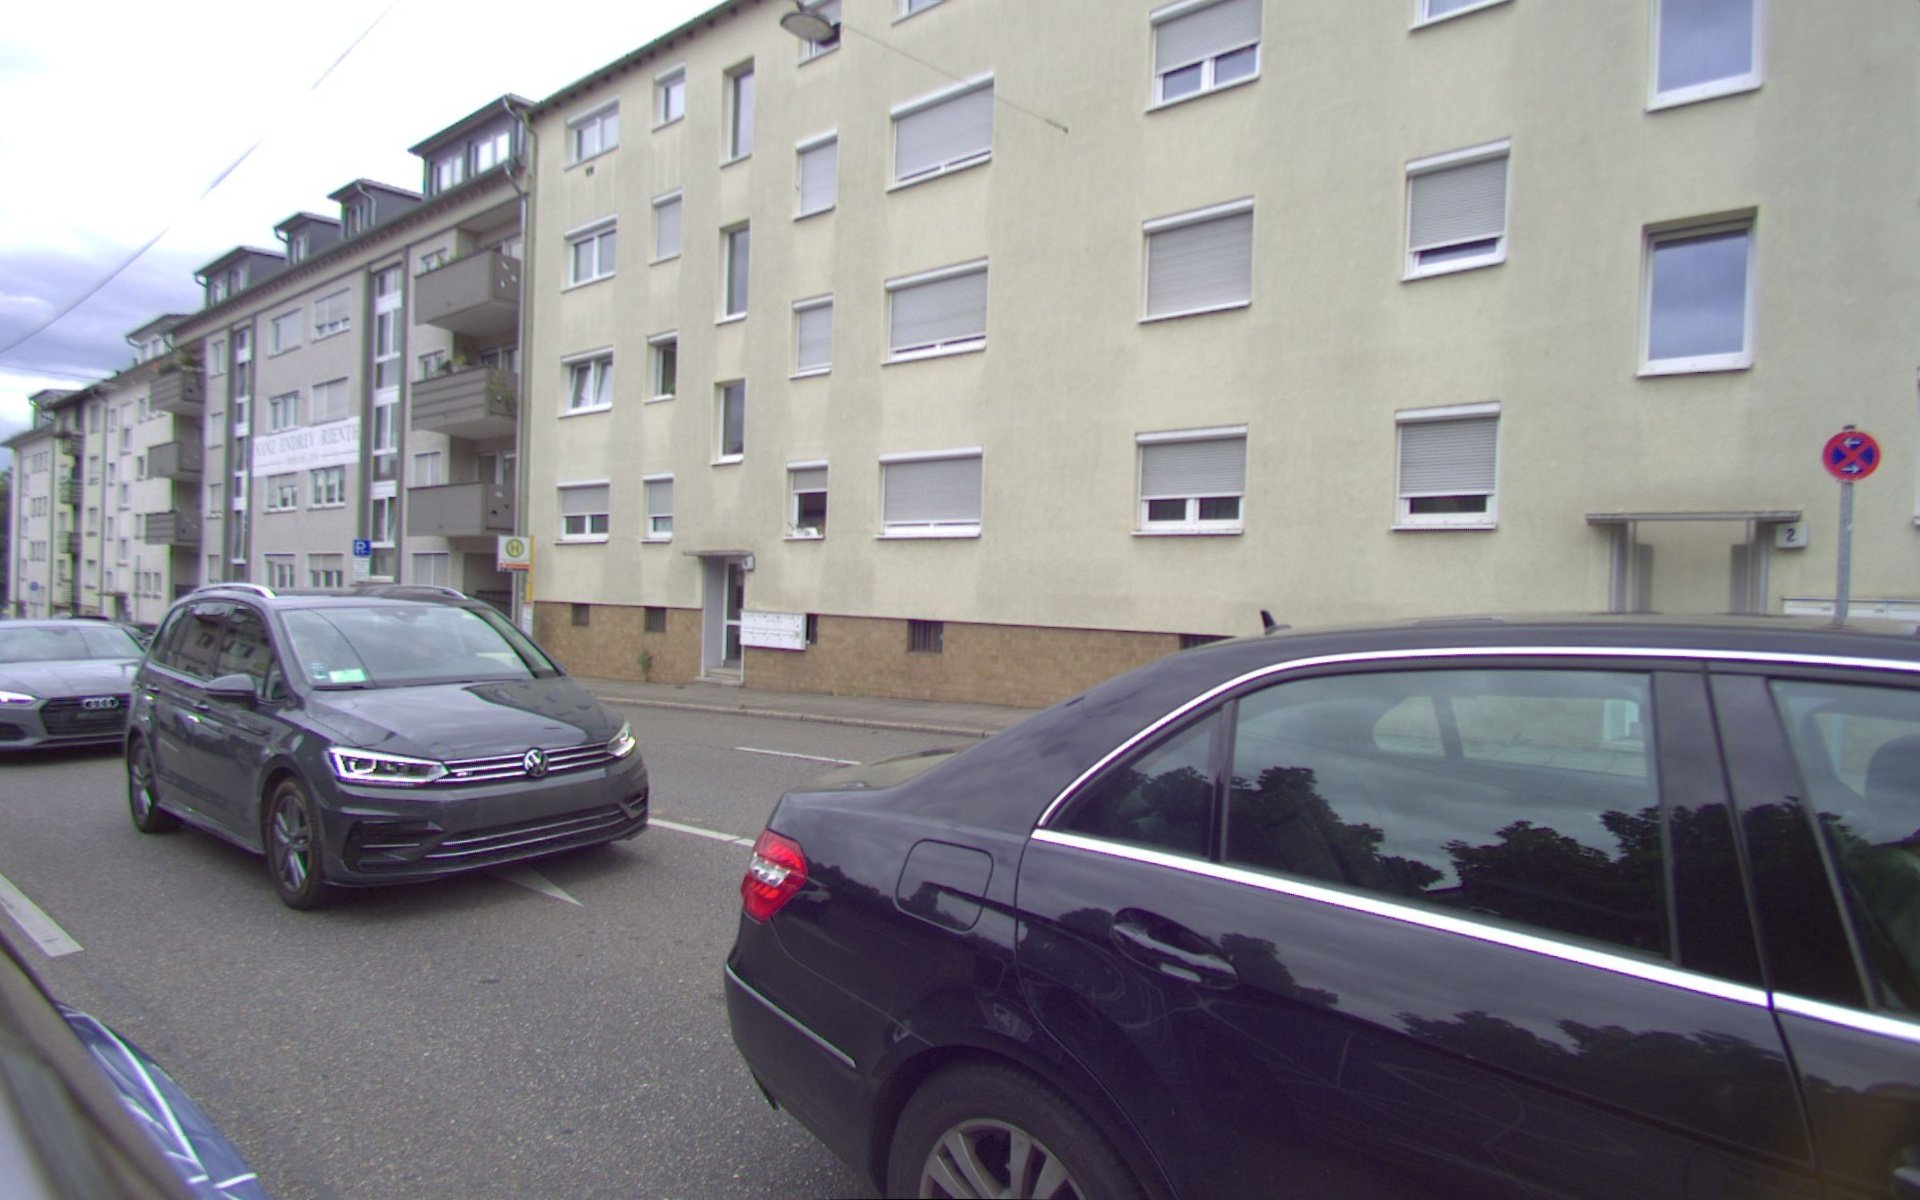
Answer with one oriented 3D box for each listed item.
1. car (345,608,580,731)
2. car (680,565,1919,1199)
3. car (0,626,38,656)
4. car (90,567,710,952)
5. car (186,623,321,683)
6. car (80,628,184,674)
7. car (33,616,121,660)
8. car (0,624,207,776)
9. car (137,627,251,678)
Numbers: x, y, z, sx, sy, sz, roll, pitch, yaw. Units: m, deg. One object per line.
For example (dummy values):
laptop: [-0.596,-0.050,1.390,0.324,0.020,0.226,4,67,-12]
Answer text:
car: [-7.087,0.907,14.329,3.454,1.529,1.583,0,-3,37]
car: [1.832,0.687,1.438,4.839,1.439,1.973,-1,-1,41]
car: [-47.176,1.983,49.884,3.751,1.414,1.755,0,-3,36]
car: [-3.733,0.683,6.381,4.473,1.623,1.840,0,0,38]
car: [-18.592,1.364,26.600,3.679,1.422,1.755,0,-3,36]
car: [-27.276,1.664,33.307,3.533,1.414,1.755,0,-3,36]
car: [-34.233,1.471,39.214,3.533,1.613,1.755,0,-3,36]
car: [-9.941,0.955,11.085,4.144,1.365,1.858,-1,-1,41]
car: [-22.470,1.511,29.668,3.533,1.386,1.650,0,-3,36]
